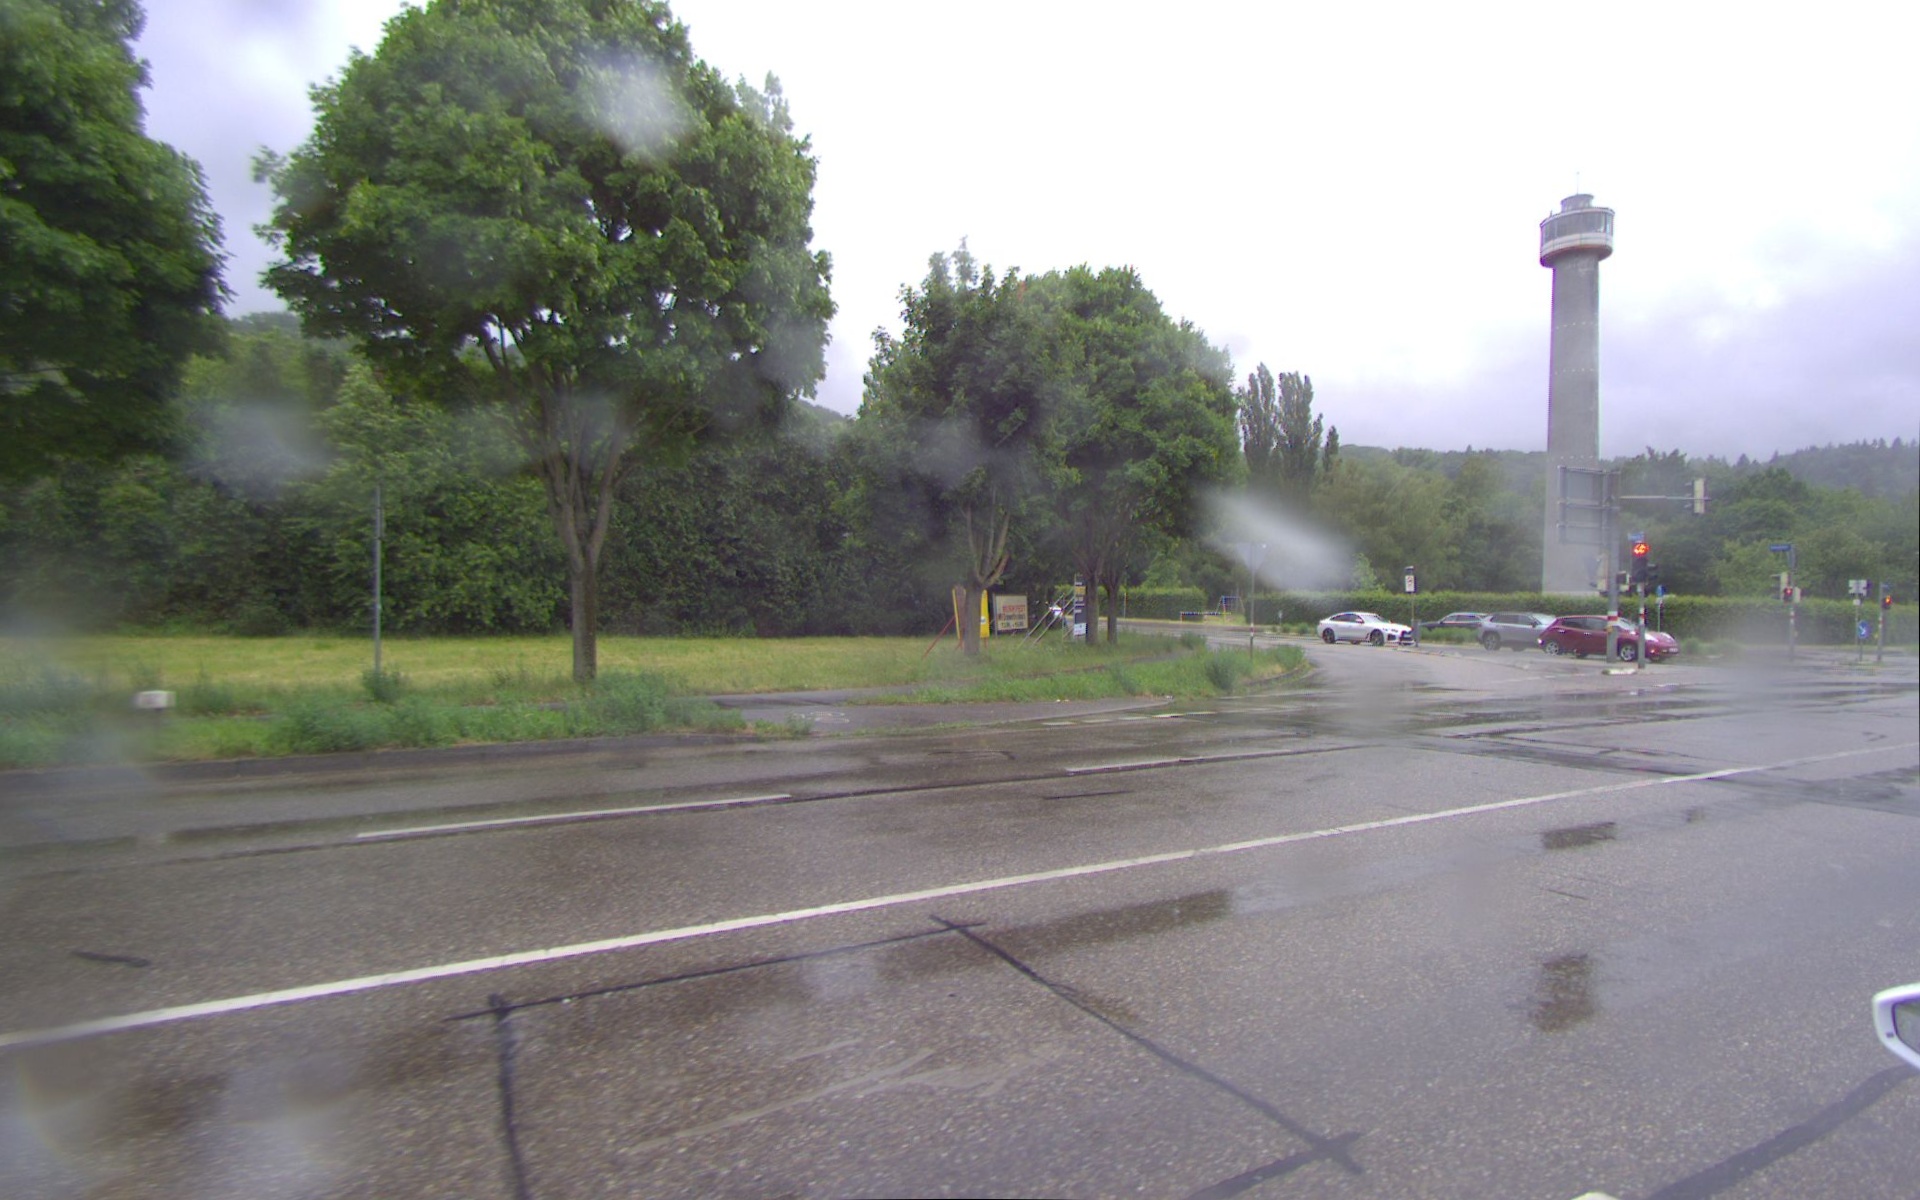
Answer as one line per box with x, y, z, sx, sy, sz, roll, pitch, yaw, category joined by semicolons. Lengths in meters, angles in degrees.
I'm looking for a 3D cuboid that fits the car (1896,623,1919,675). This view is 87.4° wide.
37.653;1.864;36.733;1.891;1.941;4.652;1;0;-27;car

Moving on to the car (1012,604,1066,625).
6.407;1.190;81.701;1.719;1.600;4.335;1;0;-42;car

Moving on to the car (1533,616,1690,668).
22.640;1.404;35.102;1.709;1.600;4.363;1;0;-24;car

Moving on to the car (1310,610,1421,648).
18.106;1.279;45.128;1.773;1.574;4.872;1;0;-22;car

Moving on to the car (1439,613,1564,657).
23.010;1.445;42.893;1.885;1.601;4.517;1;1;-22;car
